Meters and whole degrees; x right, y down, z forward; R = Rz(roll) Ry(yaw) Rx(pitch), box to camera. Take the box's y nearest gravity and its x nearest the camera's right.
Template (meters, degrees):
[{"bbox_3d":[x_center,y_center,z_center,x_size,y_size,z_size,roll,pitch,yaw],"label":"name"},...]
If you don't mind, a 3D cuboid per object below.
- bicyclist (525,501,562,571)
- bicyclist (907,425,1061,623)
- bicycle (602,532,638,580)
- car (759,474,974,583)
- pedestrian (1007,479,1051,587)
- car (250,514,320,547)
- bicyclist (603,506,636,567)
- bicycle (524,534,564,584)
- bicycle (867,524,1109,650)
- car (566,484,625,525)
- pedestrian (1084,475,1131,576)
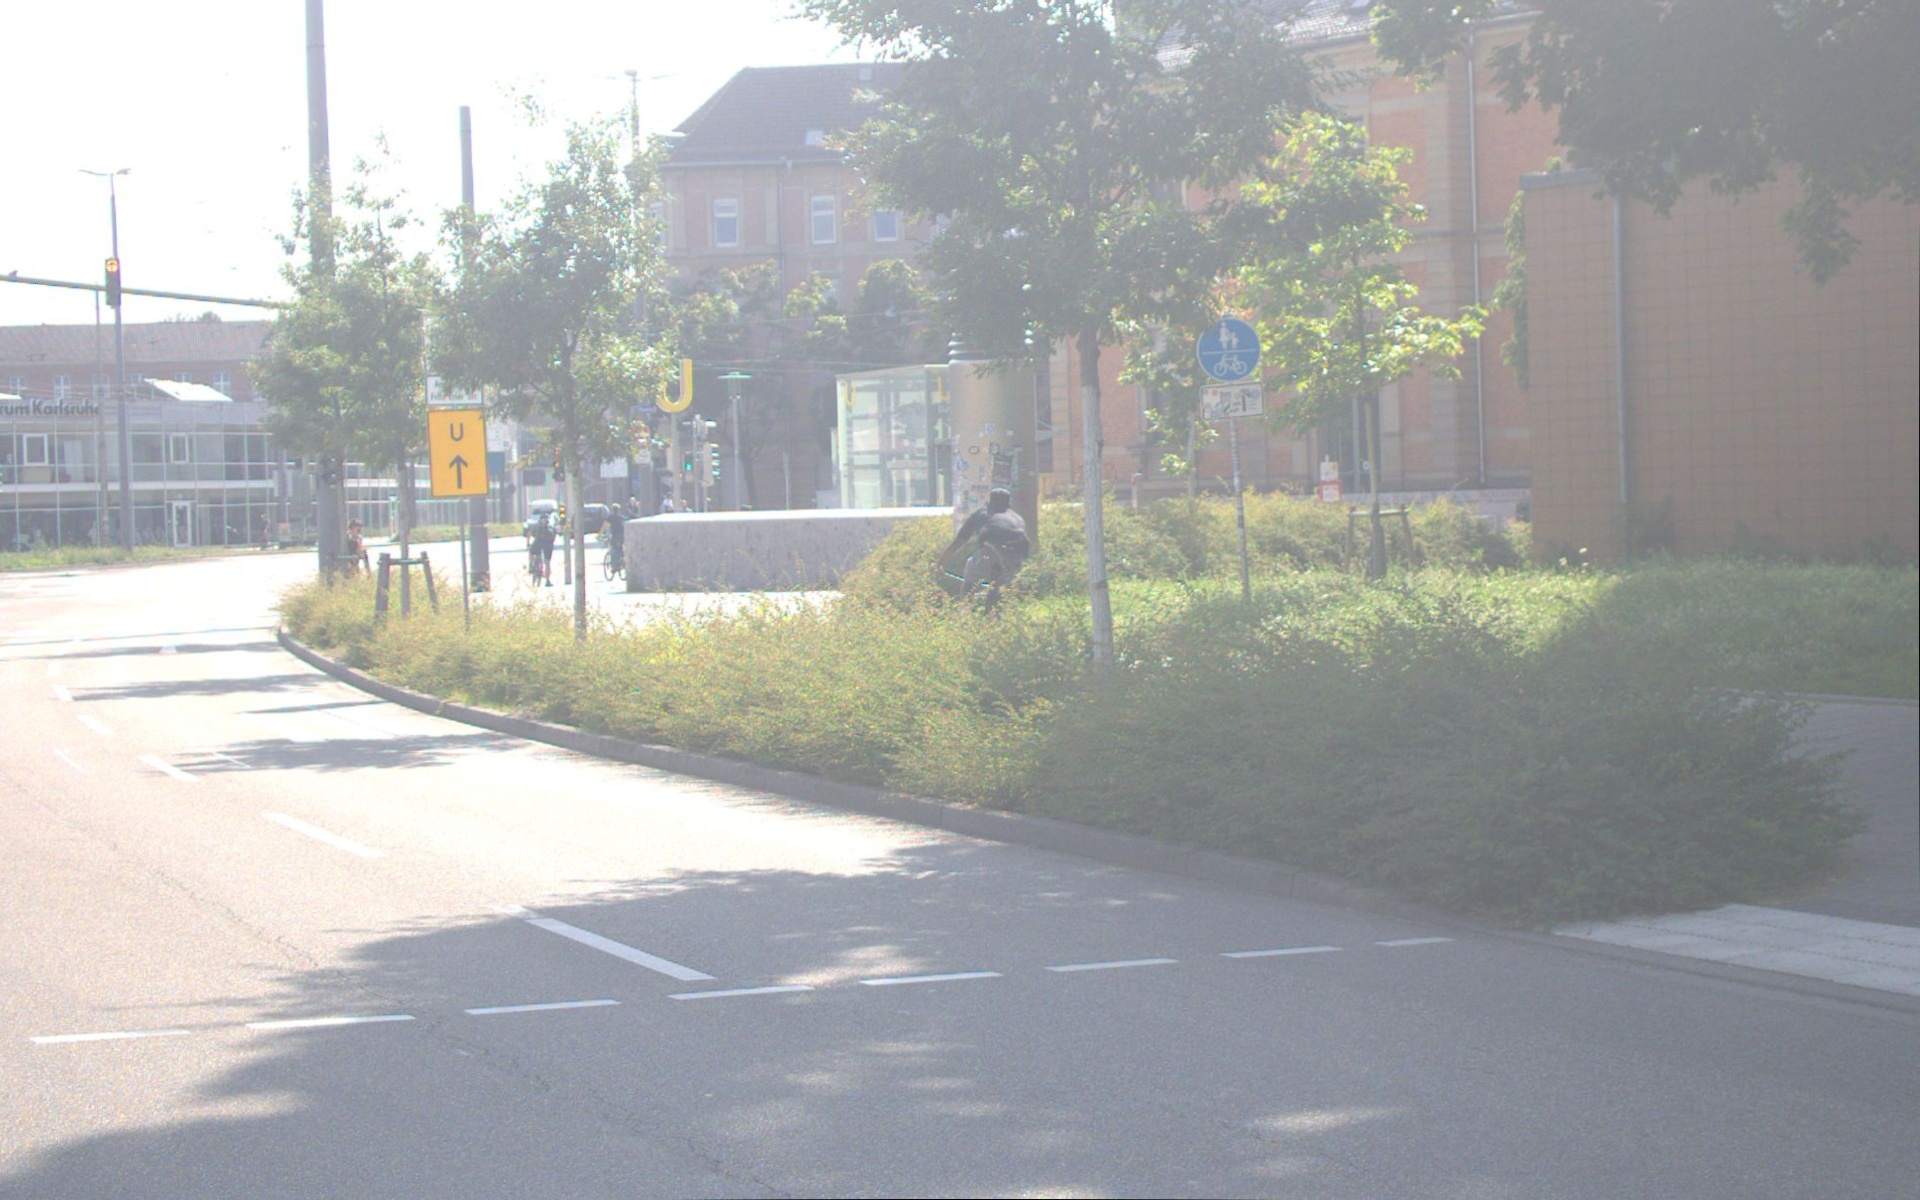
[{"bbox_3d":[-9.203,-1.426,76.032,0.712,1.524,0.807,-2,2,-3],"label":"bicyclist"},{"bbox_3d":[0.193,-0.624,28.104,0.772,1.573,0.990,-3,2,-39],"label":"bicyclist"},{"bbox_3d":[-7.939,-1.036,80.299,0.706,1.057,1.983,-2,2,-3],"label":"bicycle"},{"bbox_3d":[-1.845,-1.463,68.642,3.988,2.006,1.754,-3,5,-35],"label":"car"},{"bbox_3d":[1.068,-1.039,53.019,0.614,1.633,0.534,-2,1,4],"label":"pedestrian"},{"bbox_3d":[-31.242,-3.222,159.182,1.994,1.437,3.999,-1,2,8],"label":"car"},{"bbox_3d":[-7.952,-1.487,80.309,0.706,1.389,0.829,-2,2,-3],"label":"bicyclist"},{"bbox_3d":[-9.194,-0.913,76.010,0.706,1.057,1.983,-2,2,-3],"label":"bicycle"},{"bbox_3d":[0.209,-0.117,28.114,0.772,0.972,2.149,-3,2,-39],"label":"bicycle"},{"bbox_3d":[-18.617,-4.895,175.832,2.412,2.006,4.779,-2,2,1],"label":"car"},{"bbox_3d":[2.394,-1.215,55.982,0.614,1.623,0.534,-2,2,-11],"label":"pedestrian"}]
